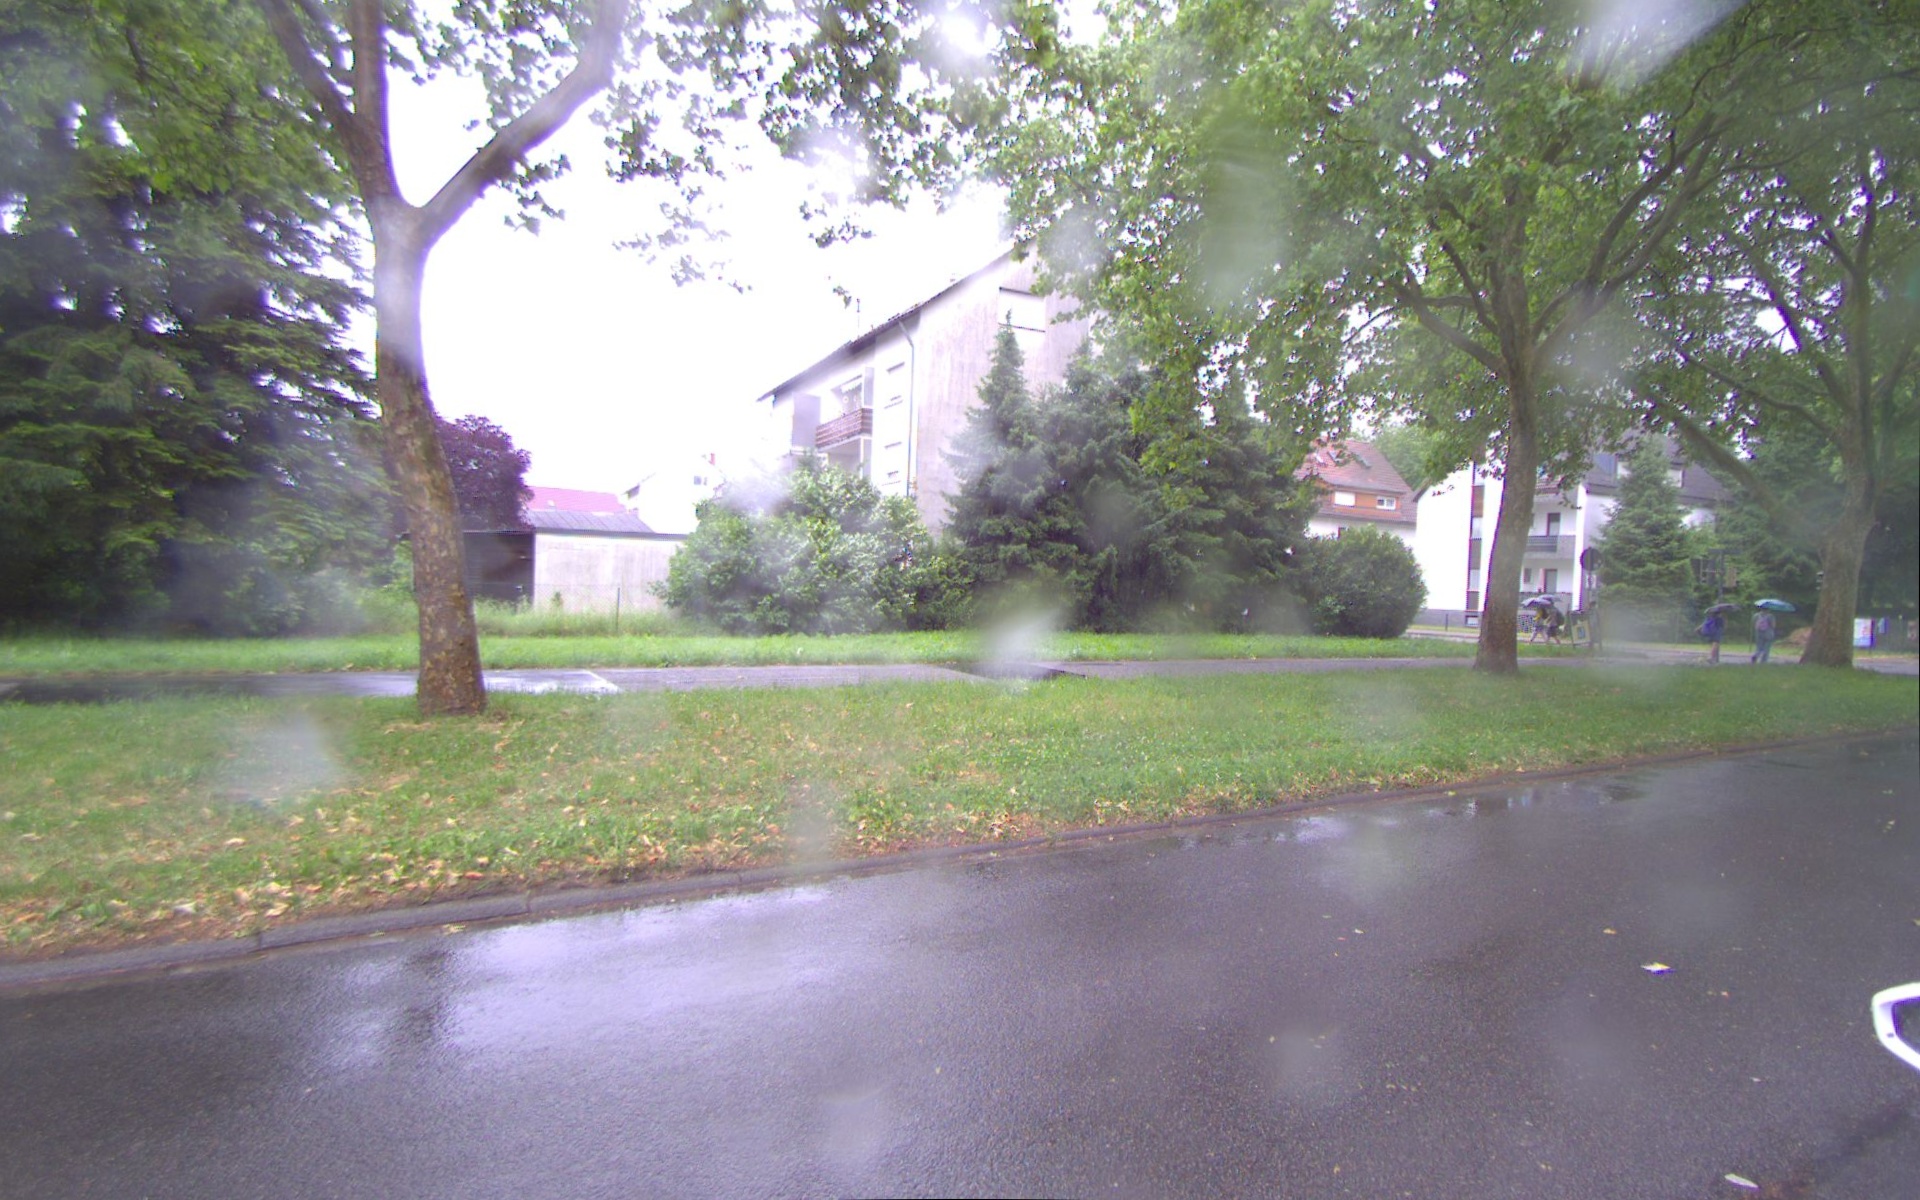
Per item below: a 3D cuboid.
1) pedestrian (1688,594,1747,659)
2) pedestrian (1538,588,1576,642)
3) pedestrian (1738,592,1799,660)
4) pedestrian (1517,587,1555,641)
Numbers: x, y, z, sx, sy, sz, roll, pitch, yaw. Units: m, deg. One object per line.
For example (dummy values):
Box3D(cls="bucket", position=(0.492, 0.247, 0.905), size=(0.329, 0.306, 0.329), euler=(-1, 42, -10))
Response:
Box3D(cls="pedestrian", position=(21.221, 0.729, 28.144), size=(0.869, 1.789, 1.028), euler=(1, 1, -30))
Box3D(cls="pedestrian", position=(20.011, 0.504, 33.677), size=(0.633, 1.768, 0.854), euler=(1, 1, -33))
Box3D(cls="pedestrian", position=(21.851, 0.681, 27.162), size=(0.828, 1.789, 1.028), euler=(1, 1, -30))
Box3D(cls="pedestrian", position=(19.039, 0.456, 33.210), size=(0.633, 1.768, 0.815), euler=(1, 1, -33))
